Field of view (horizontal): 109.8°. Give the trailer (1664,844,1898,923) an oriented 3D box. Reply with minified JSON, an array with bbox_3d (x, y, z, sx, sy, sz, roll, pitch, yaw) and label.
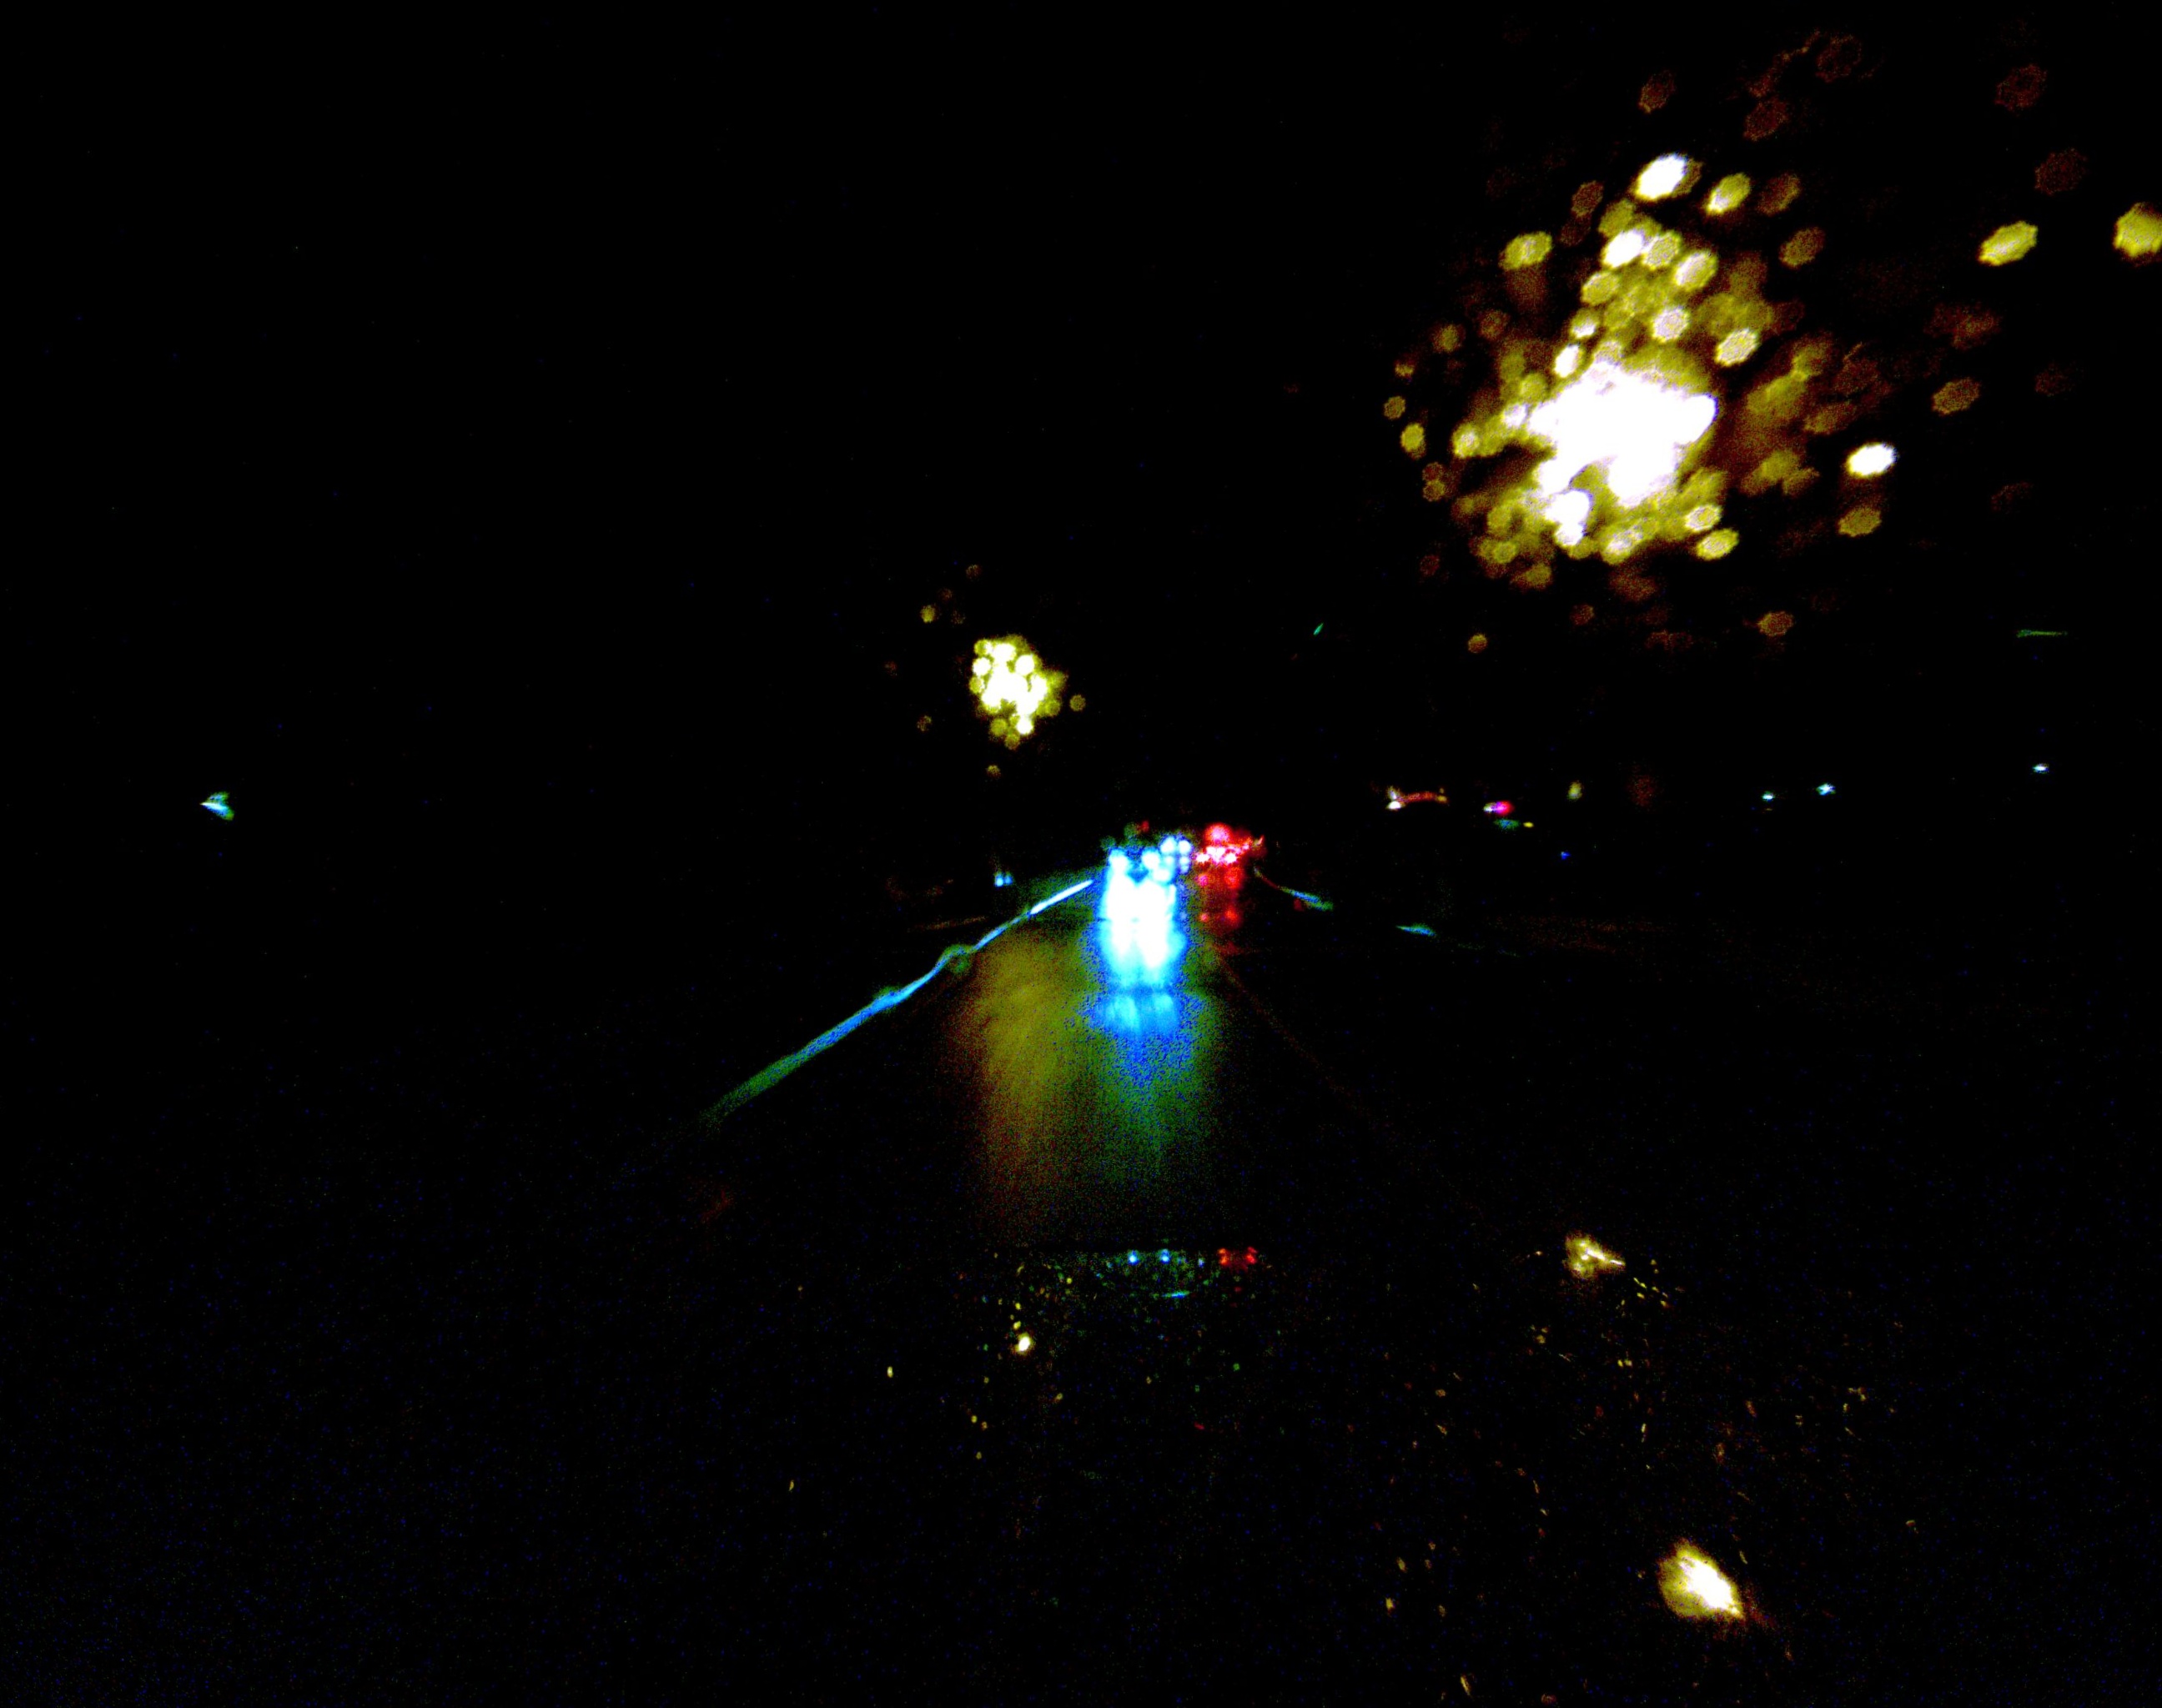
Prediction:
[{"bbox_3d":[16.545,0.659,18.303,1.817,1.667,4.101,1,-1,-1],"label":"trailer"}]

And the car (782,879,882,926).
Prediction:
[{"bbox_3d":[-8.849,1.681,27.325,1.637,1.501,3.680,0,-1,15],"label":"car"}]

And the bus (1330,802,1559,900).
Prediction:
[{"bbox_3d":[16.748,-0.120,36.944,2.902,3.846,13.047,-2,0,-10],"label":"bus"}]

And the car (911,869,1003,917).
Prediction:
[{"bbox_3d":[-3.958,1.237,24.923,1.638,1.390,3.679,-2,-1,14],"label":"car"}]

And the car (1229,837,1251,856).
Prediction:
[{"bbox_3d":[14.062,-0.633,66.970,1.698,1.590,3.804,-1,0,14],"label":"car"}]

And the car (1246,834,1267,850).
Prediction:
[{"bbox_3d":[18.272,-1.253,78.979,1.714,1.467,3.873,-3,0,18],"label":"car"}]

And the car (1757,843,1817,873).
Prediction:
[{"bbox_3d":[39.053,0.168,42.118,1.855,1.391,4.046,2,4,35],"label":"car"}]

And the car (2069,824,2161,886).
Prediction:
[{"bbox_3d":[31.368,0.022,21.001,1.942,1.687,4.624,-3,2,-7],"label":"car"}]

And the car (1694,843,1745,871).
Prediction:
[{"bbox_3d":[36.719,0.134,43.777,1.855,1.391,4.046,2,4,35],"label":"car"}]

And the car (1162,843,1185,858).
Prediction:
[{"bbox_3d":[8.682,-0.369,71.296,1.591,1.286,3.367,-3,2,-2],"label":"car"}]

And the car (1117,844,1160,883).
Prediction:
[{"bbox_3d":[2.989,0.435,38.792,1.958,1.712,4.000,-1,2,7],"label":"car"}]

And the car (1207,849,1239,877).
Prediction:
[{"bbox_3d":[7.970,0.524,42.728,1.638,1.501,4.121,0,-1,10],"label":"car"}]

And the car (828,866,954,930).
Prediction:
[{"bbox_3d":[-4.979,1.138,20.466,1.676,1.556,3.806,-2,-2,14],"label":"car"}]

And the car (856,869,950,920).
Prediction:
[{"bbox_3d":[-6.061,1.347,26.246,1.637,1.610,3.540,0,-1,15],"label":"car"}]
